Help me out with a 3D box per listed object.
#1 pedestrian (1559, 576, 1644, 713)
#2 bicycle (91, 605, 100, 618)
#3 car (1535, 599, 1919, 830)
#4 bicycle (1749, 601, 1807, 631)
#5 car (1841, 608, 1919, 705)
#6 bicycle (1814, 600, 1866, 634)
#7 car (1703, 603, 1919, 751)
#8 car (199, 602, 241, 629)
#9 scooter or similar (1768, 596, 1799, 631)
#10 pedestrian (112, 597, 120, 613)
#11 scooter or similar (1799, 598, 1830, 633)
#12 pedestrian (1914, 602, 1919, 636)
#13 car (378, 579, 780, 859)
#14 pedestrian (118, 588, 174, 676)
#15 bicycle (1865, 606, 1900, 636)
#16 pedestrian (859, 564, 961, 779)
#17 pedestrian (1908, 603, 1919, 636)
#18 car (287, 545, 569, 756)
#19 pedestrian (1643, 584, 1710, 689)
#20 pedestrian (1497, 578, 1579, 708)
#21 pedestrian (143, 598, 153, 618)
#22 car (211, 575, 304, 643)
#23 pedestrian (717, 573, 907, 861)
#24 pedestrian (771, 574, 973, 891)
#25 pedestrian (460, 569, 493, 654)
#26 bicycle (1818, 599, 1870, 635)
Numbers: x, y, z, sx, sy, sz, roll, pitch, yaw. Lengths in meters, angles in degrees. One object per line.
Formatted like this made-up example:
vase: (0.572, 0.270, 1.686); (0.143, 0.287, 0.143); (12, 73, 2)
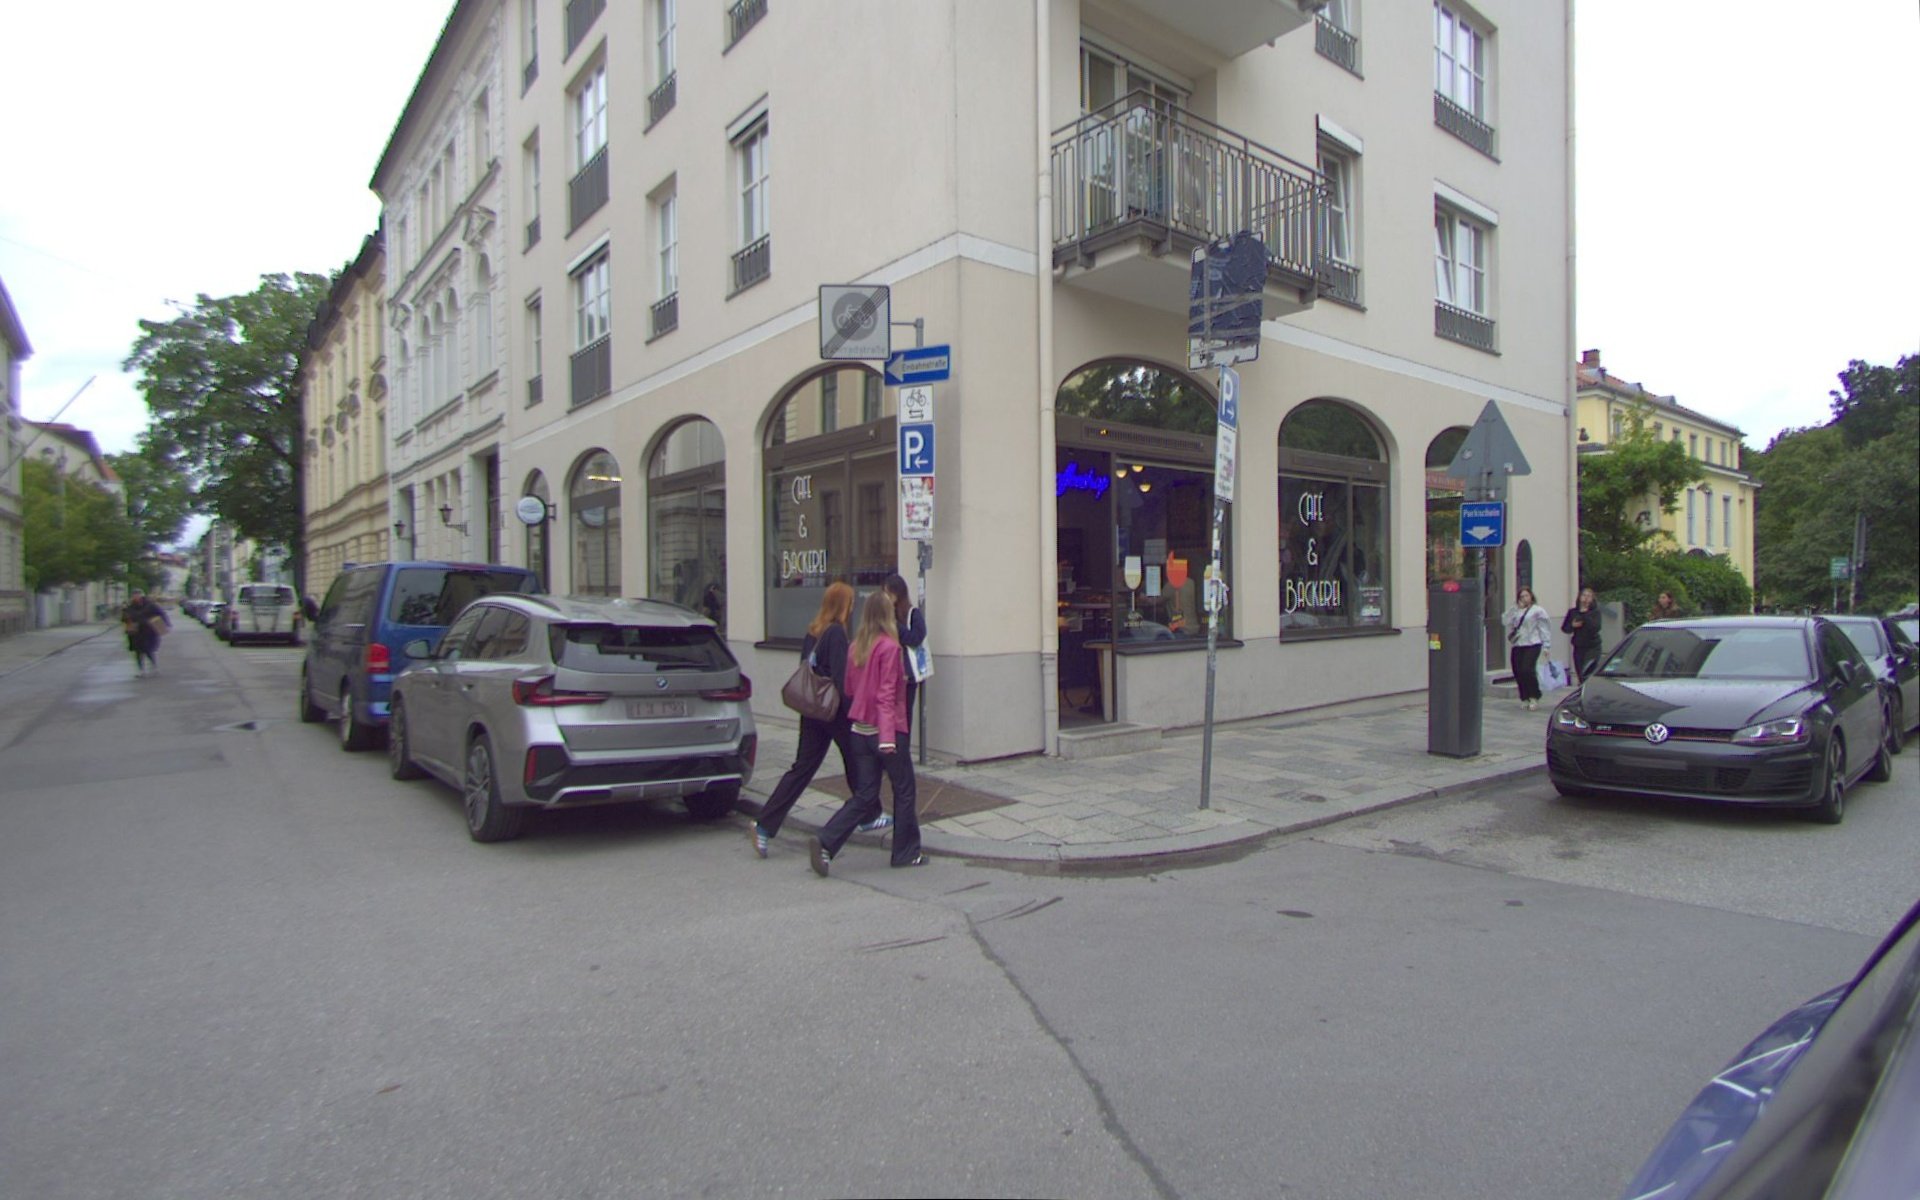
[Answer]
pedestrian: (8.321, 0.545, 13.127); (0.865, 1.682, 0.706); (-2, 1, -40)
bicycle: (-67.022, 0.861, 78.464); (0.384, 0.975, 1.542); (1, -2, -35)
car: (6.457, 0.748, 8.337); (4.130, 1.443, 1.678); (0, -2, -41)
bicycle: (30.654, 0.599, 37.957); (1.639, 1.006, 0.246); (3, 0, 28)
car: (16.170, 0.854, 16.602); (4.572, 1.429, 1.807); (0, -1, -39)
bicycle: (32.548, 0.627, 37.446); (1.624, 1.206, 0.202); (3, 0, 3)
car: (10.476, 0.787, 12.005); (4.429, 1.443, 1.648); (0, -2, -40)
car: (-42.110, 0.866, 57.577); (1.638, 1.434, 3.786); (3, -2, -40)
scooter or similar: (30.186, 0.501, 37.101); (1.362, 1.264, 0.397); (1, 0, -30)
pedestrian: (-79.260, 0.462, 95.086); (0.538, 1.451, 0.470); (-2, 1, -39)
scooter or similar: (30.809, 0.548, 36.517); (0.318, 1.228, 1.114); (1, 0, 10)
pedestrian: (37.962, 0.744, 39.393); (1.173, 1.310, 0.630); (-1, -4, 41)
car: (-3.227, 0.686, 8.029); (1.723, 1.626, 4.097); (2, -1, -40)
pedestrian: (-15.873, 0.607, 19.751); (0.803, 1.648, 0.871); (-2, 1, -39)
bicycle: (34.515, 0.779, 37.863); (1.620, 1.051, 0.308); (2, 0, -24)
pedestrian: (-0.411, 0.548, 8.251); (0.634, 1.667, 0.519); (0, 1, 44)
pedestrian: (37.230, 0.749, 38.826); (1.211, 1.264, 0.630); (-1, -4, 41)
car: (-6.278, 0.483, 11.658); (1.939, 1.941, 4.449); (3, -2, -40)
pedestrian: (11.740, 0.568, 16.582); (0.865, 1.642, 0.706); (-2, 1, -40)
pedestrian: (7.836, 0.547, 13.728); (0.865, 1.682, 0.706); (-2, 1, -40)
pedestrian: (-70.704, 0.694, 88.116); (0.581, 1.732, 0.585); (-2, 1, -39)
car: (-22.695, 0.278, 32.634); (2.040, 2.011, 4.340); (3, -2, -40)
pedestrian: (-0.925, 0.658, 6.366); (0.962, 1.640, 0.660); (-2, 1, -39)
pedestrian: (-0.490, 0.685, 5.825); (1.050, 1.645, 0.473); (-2, 1, -40)
pedestrian: (-10.472, 0.245, 21.915); (0.533, 1.802, 0.510); (-2, 1, -37)
bicycle: (32.538, 0.622, 37.249); (1.624, 1.213, 0.169); (3, 0, 3)
